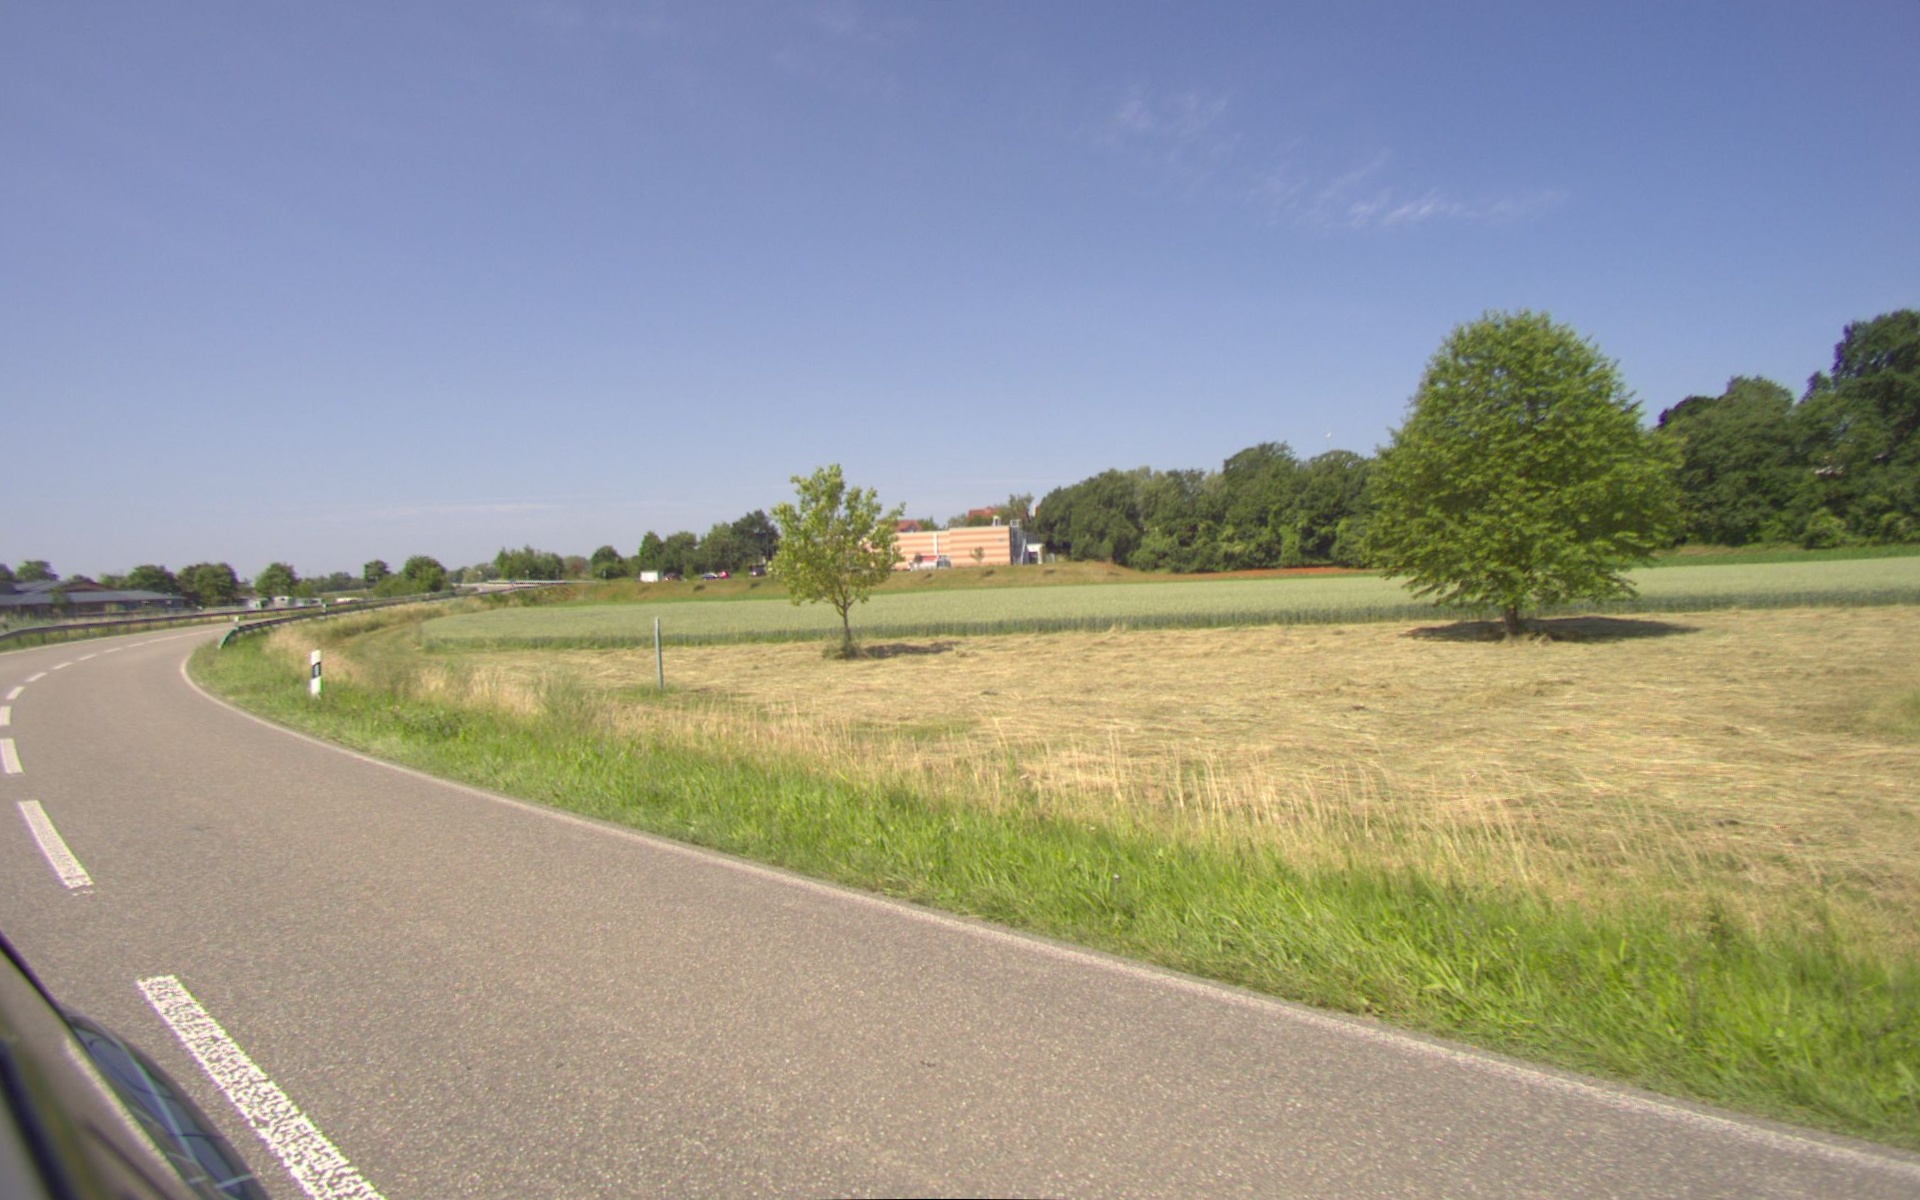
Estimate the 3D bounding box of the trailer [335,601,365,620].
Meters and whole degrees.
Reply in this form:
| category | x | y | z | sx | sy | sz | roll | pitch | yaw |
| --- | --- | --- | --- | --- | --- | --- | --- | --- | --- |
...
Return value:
| category | x | y | z | sx | sy | sz | roll | pitch | yaw |
| --- | --- | --- | --- | --- | --- | --- | --- | --- | --- |
| trailer | -98.642 | 1.616 | 163.594 | 3.380 | 2.825 | 2.161 | -2 | 2 | 7 |

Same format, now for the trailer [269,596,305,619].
| category | x | y | z | sx | sy | sz | roll | pitch | yaw |
| --- | --- | --- | --- | --- | --- | --- | --- | --- | --- |
| trailer | -90.274 | 1.009 | 135.693 | 5.032 | 2.886 | 2.208 | -1 | 1 | 35 |

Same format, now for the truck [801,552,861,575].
| category | x | y | z | sx | sy | sz | roll | pitch | yaw |
| --- | --- | --- | --- | --- | --- | --- | --- | --- | --- |
| truck | -22.381 | -6.323 | 175.737 | 9.851 | 3.502 | 2.865 | -2 | 4 | 16 |

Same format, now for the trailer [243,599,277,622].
| category | x | y | z | sx | sy | sz | roll | pitch | yaw |
| --- | --- | --- | --- | --- | --- | --- | --- | --- | --- |
| trailer | -90.490 | 1.328 | 130.862 | 4.470 | 2.690 | 2.150 | 1 | 2 | 35 |
